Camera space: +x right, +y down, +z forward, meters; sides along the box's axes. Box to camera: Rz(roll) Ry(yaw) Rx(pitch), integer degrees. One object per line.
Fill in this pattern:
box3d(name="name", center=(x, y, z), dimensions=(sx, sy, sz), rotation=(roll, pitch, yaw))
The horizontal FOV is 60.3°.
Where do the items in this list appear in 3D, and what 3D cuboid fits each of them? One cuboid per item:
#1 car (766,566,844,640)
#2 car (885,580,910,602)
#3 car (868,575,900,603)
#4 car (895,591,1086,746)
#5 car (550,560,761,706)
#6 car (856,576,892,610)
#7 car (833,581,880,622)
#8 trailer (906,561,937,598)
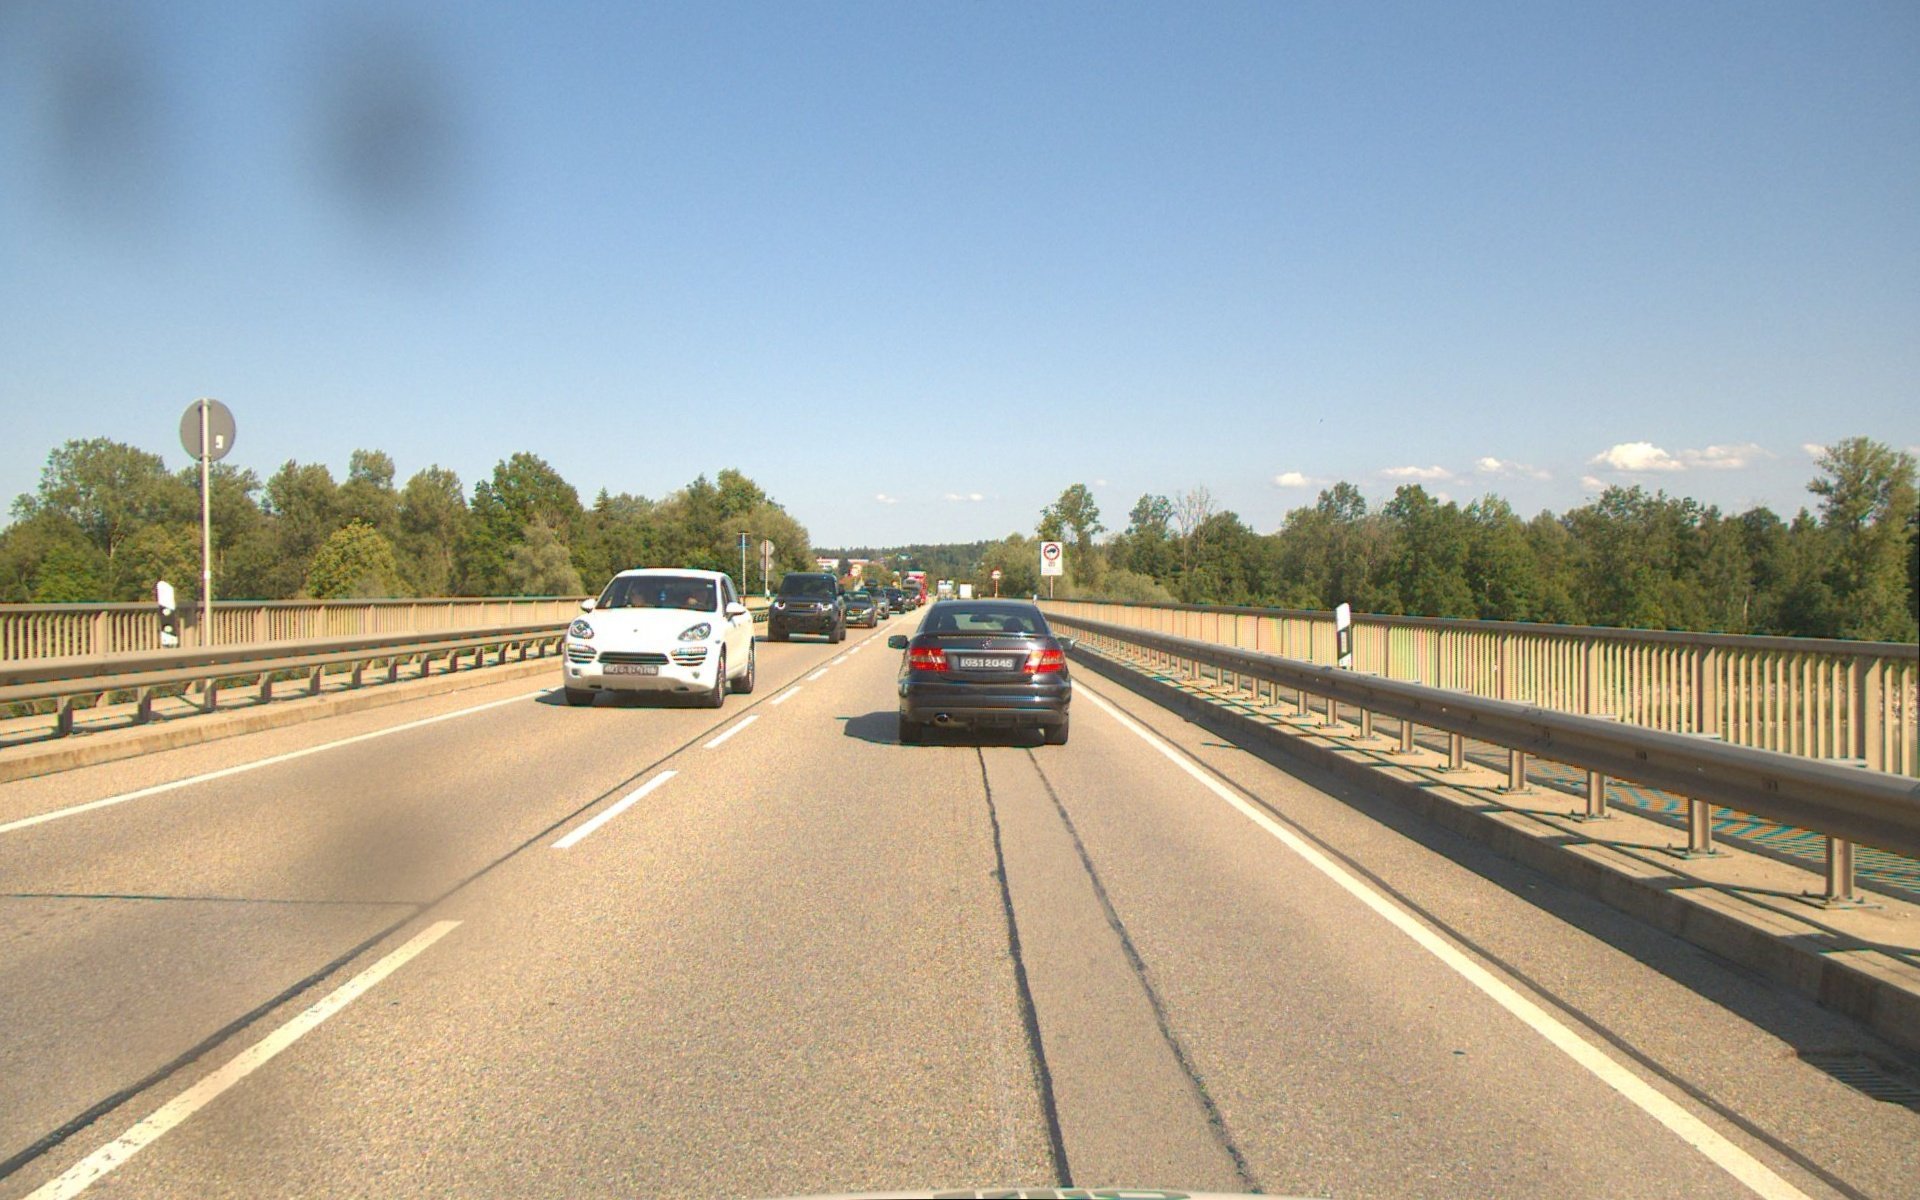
box3d(name="car", center=(-4.331, 0.023, 46.858), dimensions=(1.997, 1.906, 5.066), rotation=(2, 1, -4))
box3d(name="car", center=(-4.809, -0.718, 127.257), dimensions=(1.771, 1.605, 4.198), rotation=(1, 1, -4))
box3d(name="car", center=(-5.093, -0.759, 110.612), dimensions=(2.013, 1.681, 4.718), rotation=(2, 1, -4))
box3d(name="car", center=(0.266, 0.619, 17.302), dimensions=(1.757, 1.400, 4.000), rotation=(1, 1, -1))
box3d(name="car", center=(-3.834, 0.364, 21.620), dimensions=(1.943, 1.680, 4.597), rotation=(1, 1, -1))
box3d(name="car", center=(-4.525, -0.376, 87.776), dimensions=(1.817, 1.752, 4.564), rotation=(1, 1, -2))
box3d(name="car", center=(-4.084, 0.023, 65.132), dimensions=(1.731, 1.472, 4.453), rotation=(2, 1, -4))
box3d(name="trailer", center=(-4.940, -2.560, 208.331), dimensions=(2.851, 4.377, 14.286), rotation=(1, 1, -5))
